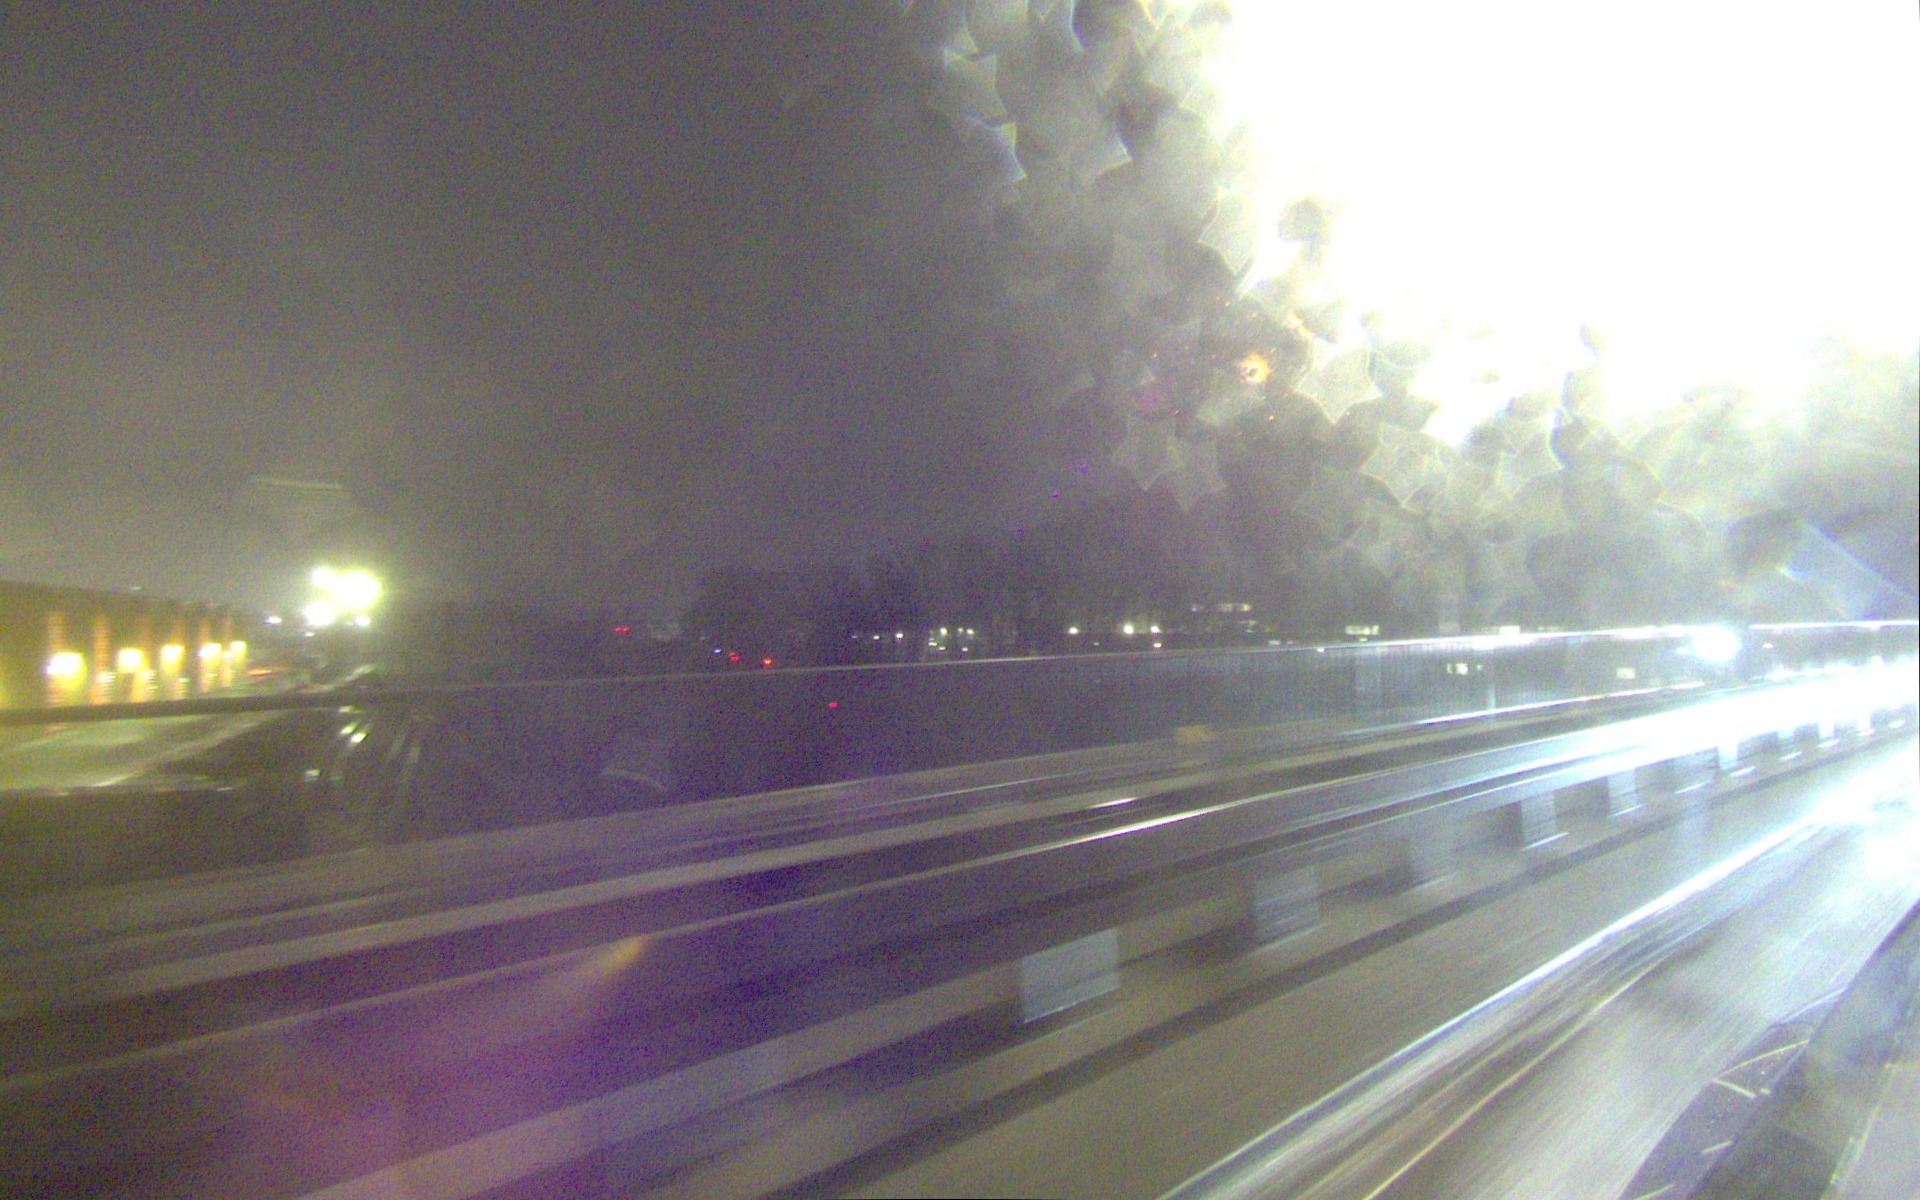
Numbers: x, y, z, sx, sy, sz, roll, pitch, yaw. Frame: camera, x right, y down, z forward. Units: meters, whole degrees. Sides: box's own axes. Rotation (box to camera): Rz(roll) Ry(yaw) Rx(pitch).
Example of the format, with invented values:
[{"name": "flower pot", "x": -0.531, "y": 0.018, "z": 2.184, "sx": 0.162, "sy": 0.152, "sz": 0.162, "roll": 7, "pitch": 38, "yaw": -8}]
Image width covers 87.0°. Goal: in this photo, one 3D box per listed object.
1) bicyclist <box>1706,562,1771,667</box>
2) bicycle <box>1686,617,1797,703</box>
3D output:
[{"name": "bicyclist", "x": 10.406, "y": 0.188, "z": 13.527, "sx": 0.749, "sy": 1.366, "sz": 0.454, "roll": 1, "pitch": -1, "yaw": -31}, {"name": "bicycle", "x": 10.535, "y": 0.774, "z": 13.617, "sx": 2.129, "sy": 1.047, "sz": 0.486, "roll": 0, "pitch": 1, "yaw": -32}]
